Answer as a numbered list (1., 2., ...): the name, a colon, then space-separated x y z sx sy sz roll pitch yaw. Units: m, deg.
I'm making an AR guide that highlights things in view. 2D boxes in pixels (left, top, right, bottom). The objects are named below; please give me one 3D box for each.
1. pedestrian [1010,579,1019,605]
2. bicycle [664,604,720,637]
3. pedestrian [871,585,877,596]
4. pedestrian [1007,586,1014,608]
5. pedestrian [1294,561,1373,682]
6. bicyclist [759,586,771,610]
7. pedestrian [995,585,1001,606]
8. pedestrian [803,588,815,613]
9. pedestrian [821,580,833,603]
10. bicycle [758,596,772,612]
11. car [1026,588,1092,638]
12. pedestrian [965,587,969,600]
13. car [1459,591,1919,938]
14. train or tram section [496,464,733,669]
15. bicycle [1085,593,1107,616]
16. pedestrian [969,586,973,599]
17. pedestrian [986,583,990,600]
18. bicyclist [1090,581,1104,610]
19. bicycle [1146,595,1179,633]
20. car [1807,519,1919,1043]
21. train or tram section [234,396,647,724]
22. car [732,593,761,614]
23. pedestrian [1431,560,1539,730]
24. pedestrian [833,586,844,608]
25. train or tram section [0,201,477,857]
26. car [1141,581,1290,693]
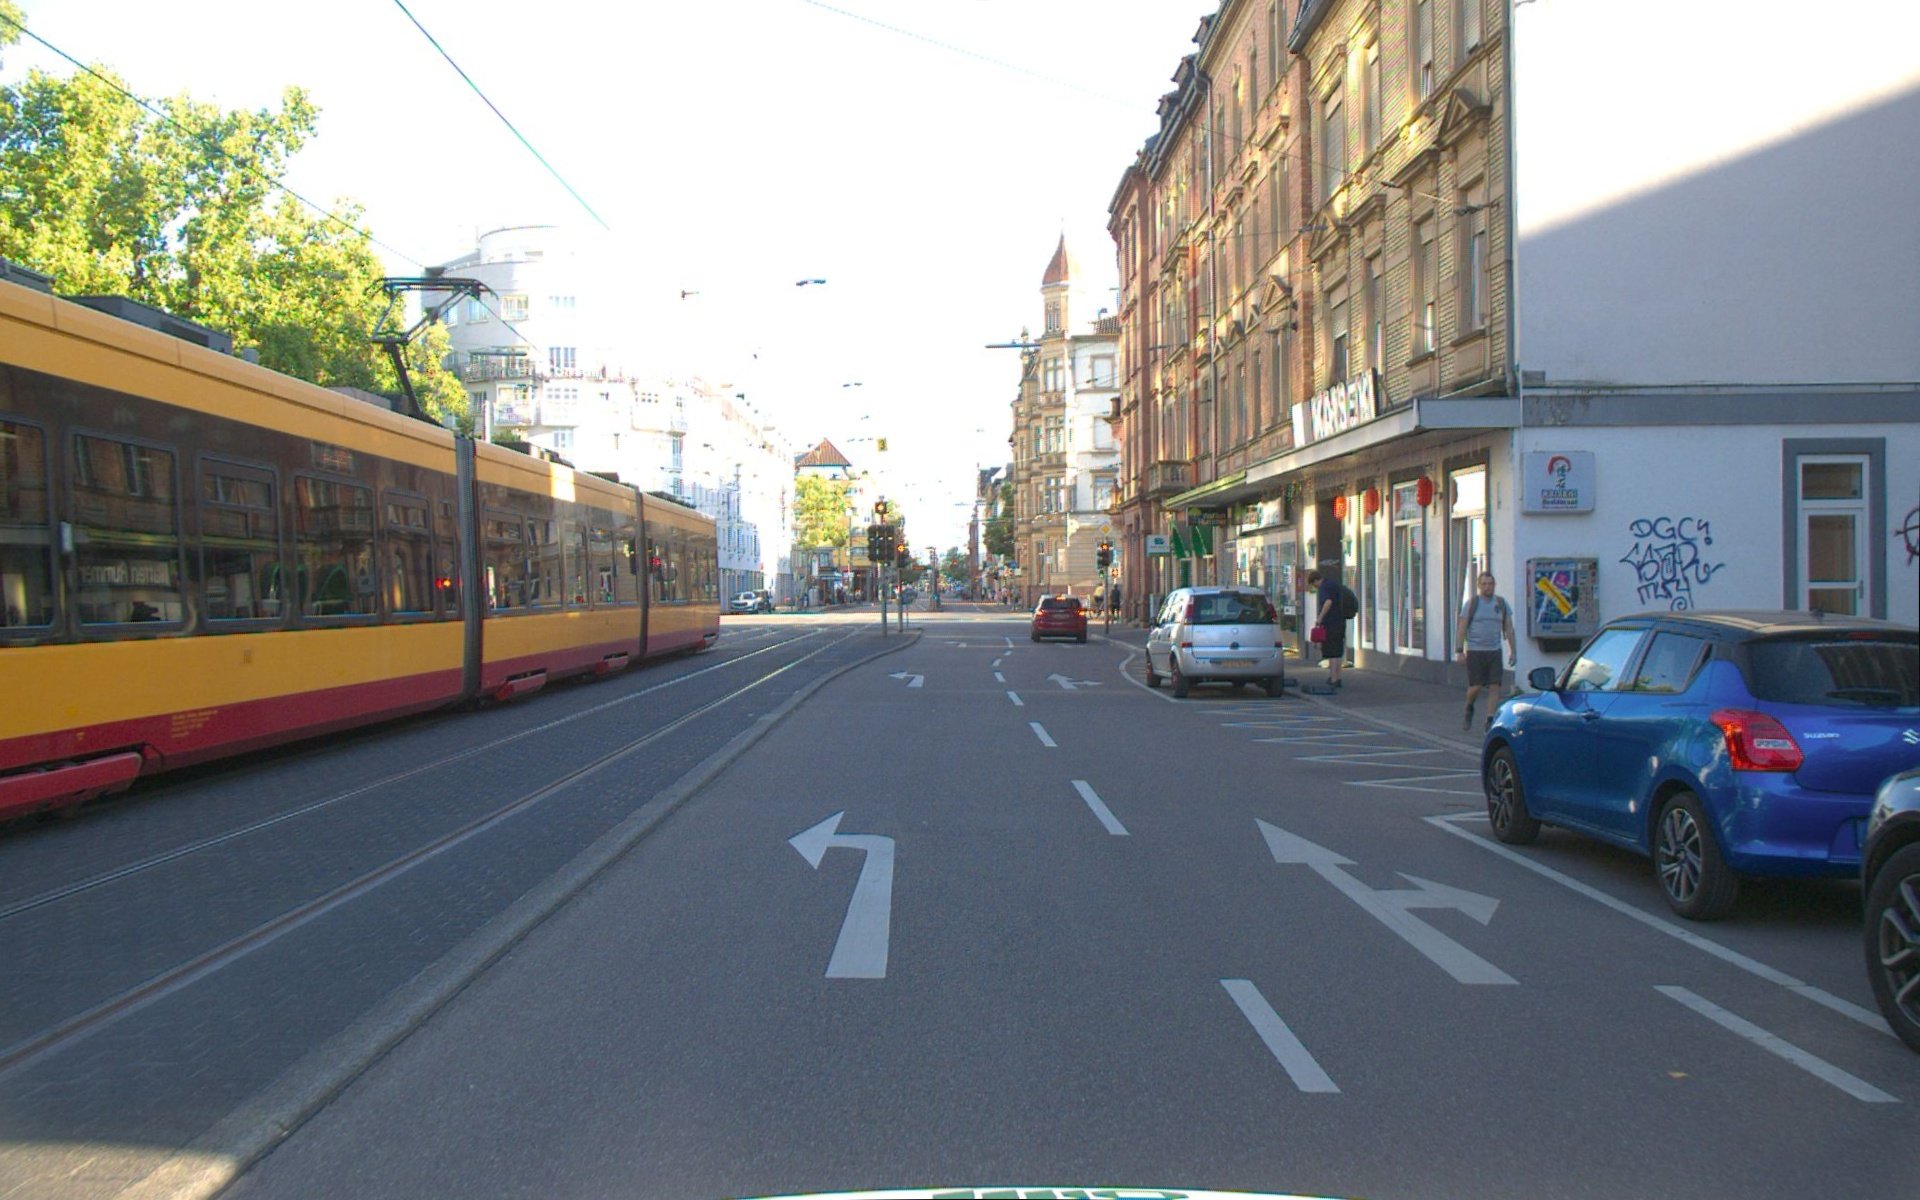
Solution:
1. pedestrian: 4.200 -0.610 126.898 0.638 2.049 0.759 0 0 -1
2. bicycle: -9.924 0.761 61.279 1.984 1.198 0.626 0 0 -15
3. pedestrian: -12.698 -1.365 244.242 0.619 1.632 0.576 -1 0 -17
4. pedestrian: 4.615 -0.264 151.913 0.633 2.049 0.683 0 0 -1
5. pedestrian: 5.817 0.324 25.824 0.927 1.824 1.054 -2 0 -1
6. bicyclist: -14.637 -0.167 124.127 0.791 1.756 0.794 -1 0 0
7. pedestrian: 3.763 -0.445 164.589 0.565 2.049 0.631 0 0 6
8. pedestrian: -10.978 0.027 120.226 0.752 1.761 0.573 0 0 2
9. pedestrian: -11.906 -0.750 147.937 0.936 2.049 1.048 -1 0 0
10. bicycle: -14.630 0.273 123.937 0.791 1.167 2.049 -1 0 -1
11. car: 3.103 0.385 52.590 1.719 1.492 3.943 1 0 -2
12. pedestrian: 1.002 -1.035 250.745 0.565 1.920 0.669 0 0 0
13. car: 4.302 0.756 9.450 1.605 1.518 3.794 2 1 -2
14. train or tram section: -7.062 -0.604 36.046 2.621 3.613 12.839 -1 0 -1
15. bicycle: 6.761 0.217 82.067 0.413 1.115 1.409 -1 1 34
16. pedestrian: 1.556 -1.088 240.550 0.565 1.920 0.631 0 0 0
17. pedestrian: 3.498 -1.082 206.833 0.565 2.049 0.631 0 0 0
18. bicyclist: 6.811 -0.228 82.155 0.413 1.434 0.657 -1 0 34
19. bicycle: 6.611 0.442 53.937 0.700 1.172 1.656 -2 0 18
20. car: 4.202 0.634 4.158 1.783 1.788 4.474 1 0 -1
21. train or tram section: -6.861 -0.450 24.058 2.621 3.613 11.124 -1 0 -1
22. car: -16.459 0.295 127.462 1.729 1.573 3.461 -1 0 0
23. pedestrian: 5.748 0.483 18.140 0.771 1.768 0.945 -3 0 -1
24. pedestrian: -11.350 -0.276 154.704 1.024 2.049 0.958 -1 0 -3
25. train or tram section: -6.679 -0.376 12.219 2.702 3.613 12.465 -1 0 -1
26. car: 3.951 0.533 26.116 1.604 1.643 3.943 0 0 -2
